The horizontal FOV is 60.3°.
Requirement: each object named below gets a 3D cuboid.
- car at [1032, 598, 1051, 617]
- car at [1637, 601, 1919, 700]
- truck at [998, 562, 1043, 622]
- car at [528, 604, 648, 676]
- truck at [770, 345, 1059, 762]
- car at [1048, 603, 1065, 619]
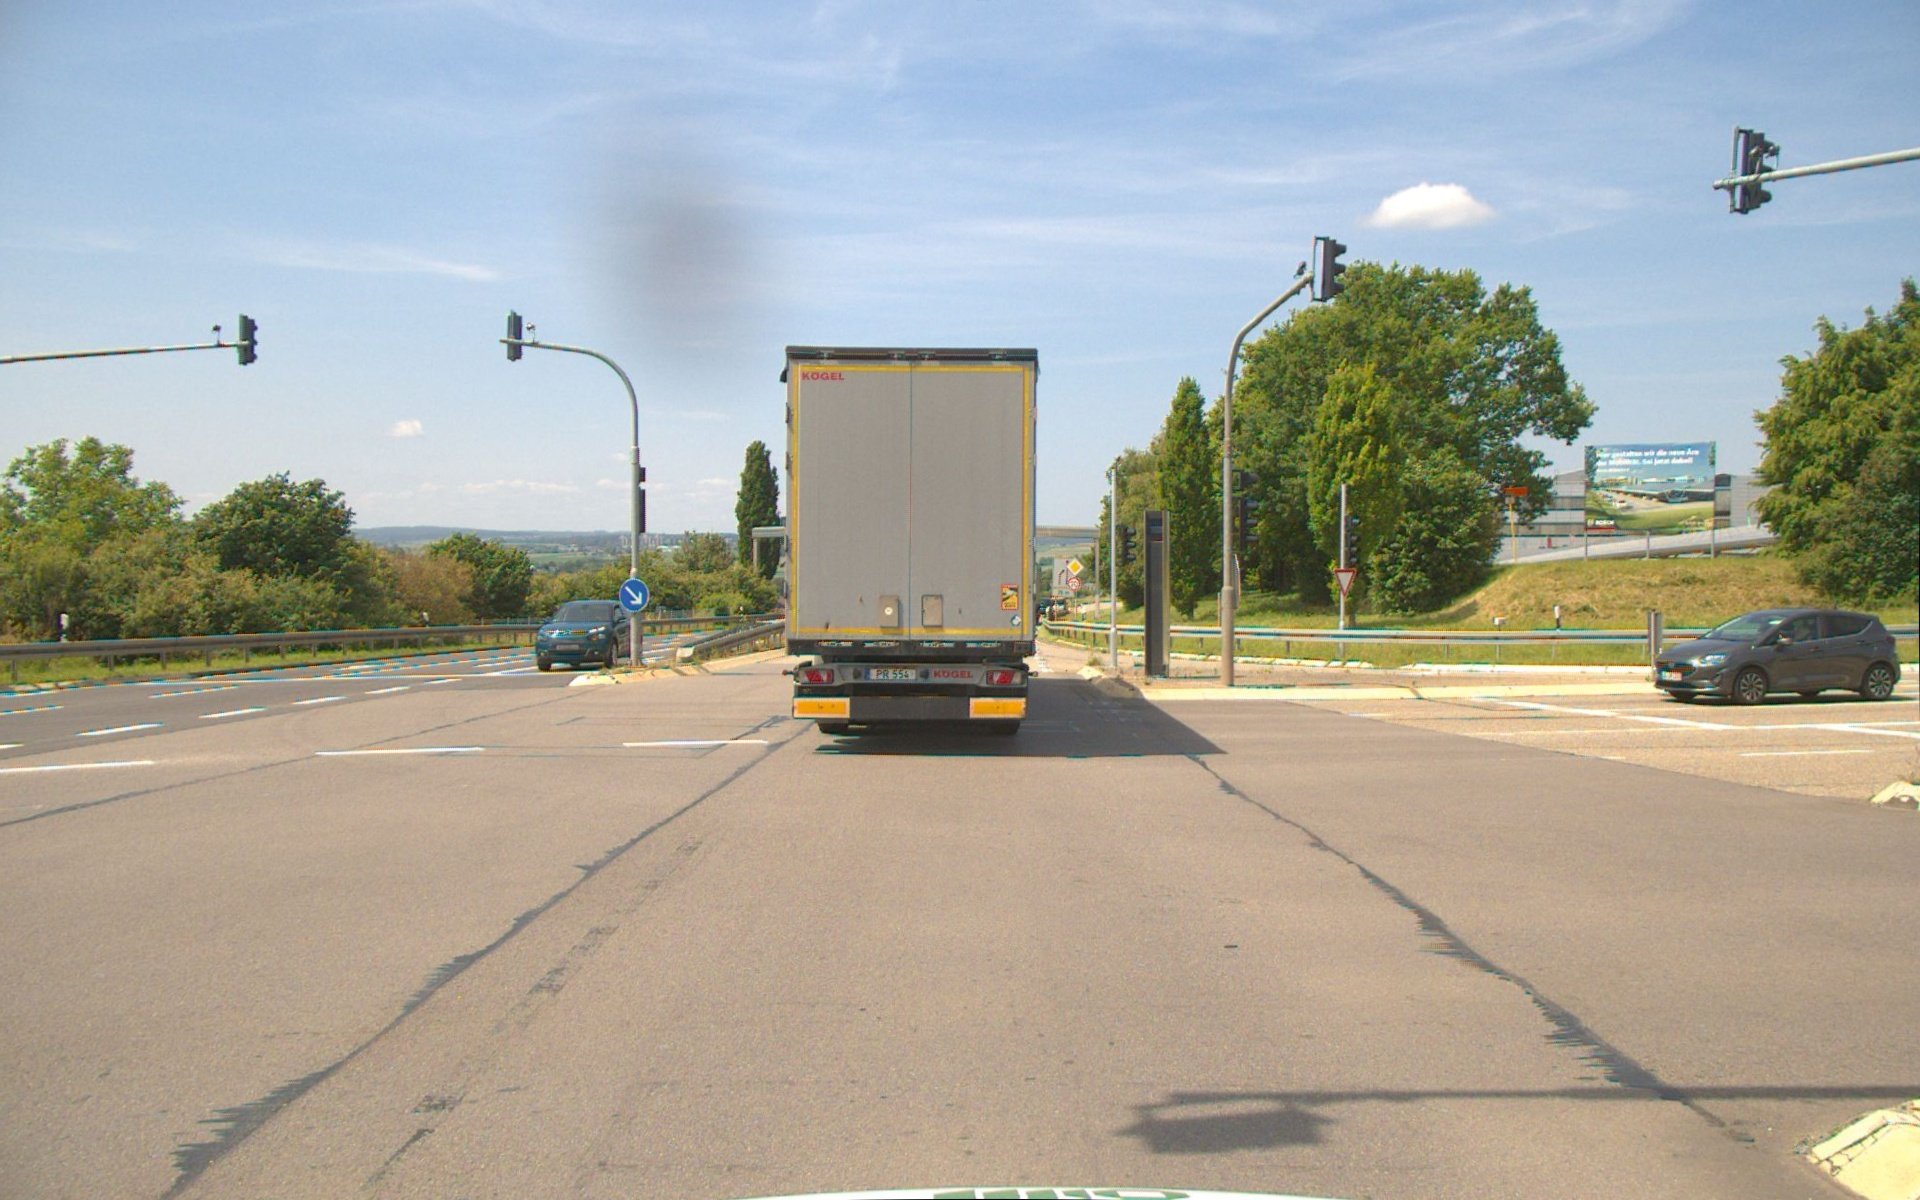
[{"bbox_3d":[7.806,0.739,158.650,1.749,1.717,4.001,1,-1,3],"label":"car"},{"bbox_3d":[13.230,0.807,26.785,3.914,1.537,1.712,0,-1,-10],"label":"car"},{"bbox_3d":[4.210,-0.438,112.825,2.600,3.830,10.166,1,-1,4],"label":"truck"},{"bbox_3d":[-8.360,0.863,37.515,1.719,1.494,4.196,-1,0,0],"label":"car"},{"bbox_3d":[-0.753,-0.439,21.703,2.743,3.998,11.333,1,0,-3],"label":"truck"},{"bbox_3d":[10.350,1.177,177.663,1.749,1.717,4.001,1,-1,3],"label":"car"}]
